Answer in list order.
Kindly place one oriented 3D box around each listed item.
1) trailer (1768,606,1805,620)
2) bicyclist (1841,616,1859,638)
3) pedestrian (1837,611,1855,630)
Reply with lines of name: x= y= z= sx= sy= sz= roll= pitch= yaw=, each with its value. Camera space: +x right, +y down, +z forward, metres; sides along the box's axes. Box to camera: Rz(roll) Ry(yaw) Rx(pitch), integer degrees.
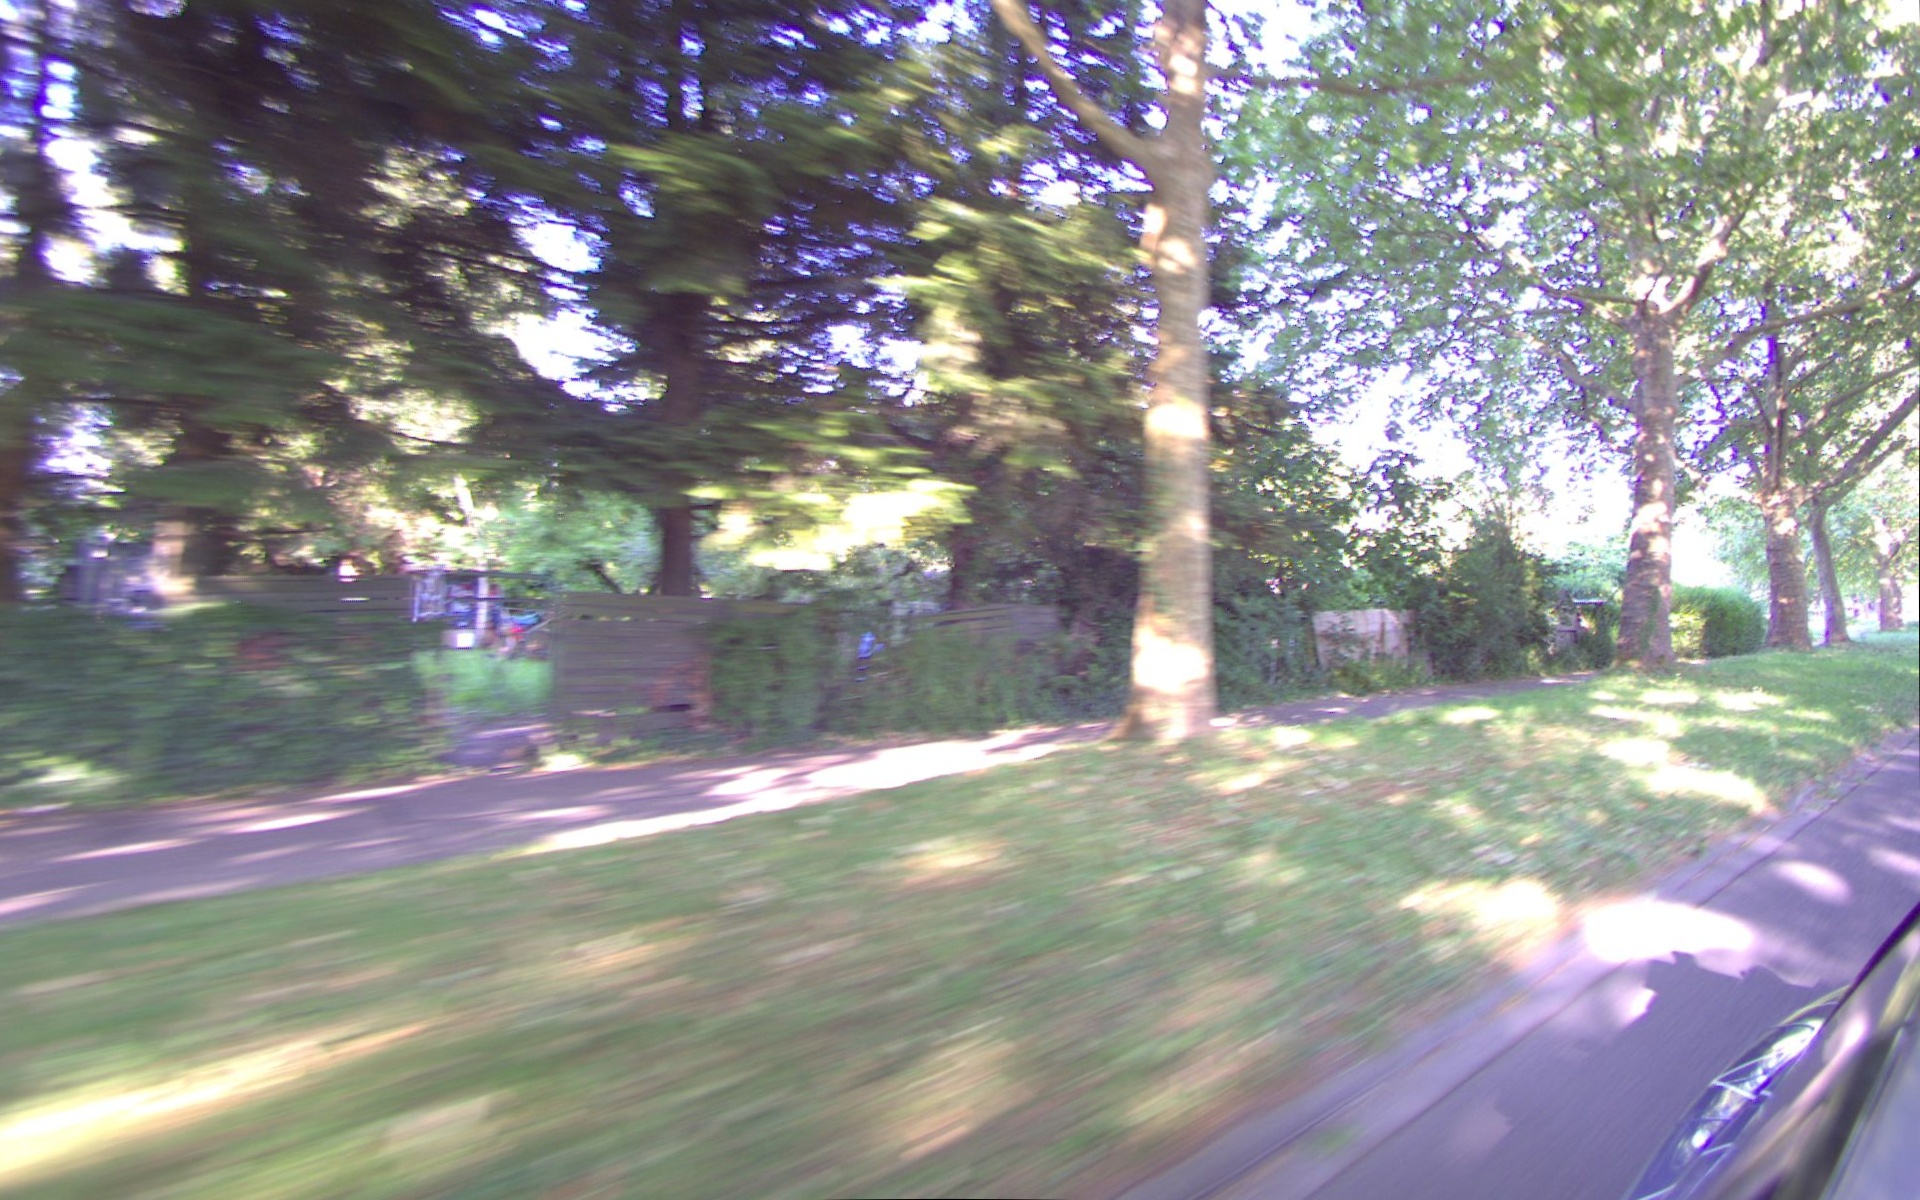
trailer: x=66.337 y=1.063 z=81.225 sx=1.180 sy=1.065 sz=2.121 roll=0 pitch=1 yaw=-41
bicyclist: x=57.604 y=1.723 z=65.506 sx=0.756 sy=1.383 sz=0.736 roll=0 pitch=1 yaw=-37
pedestrian: x=73.918 y=1.716 z=84.432 sx=0.769 sy=1.596 sz=0.845 roll=0 pitch=0 yaw=-3
